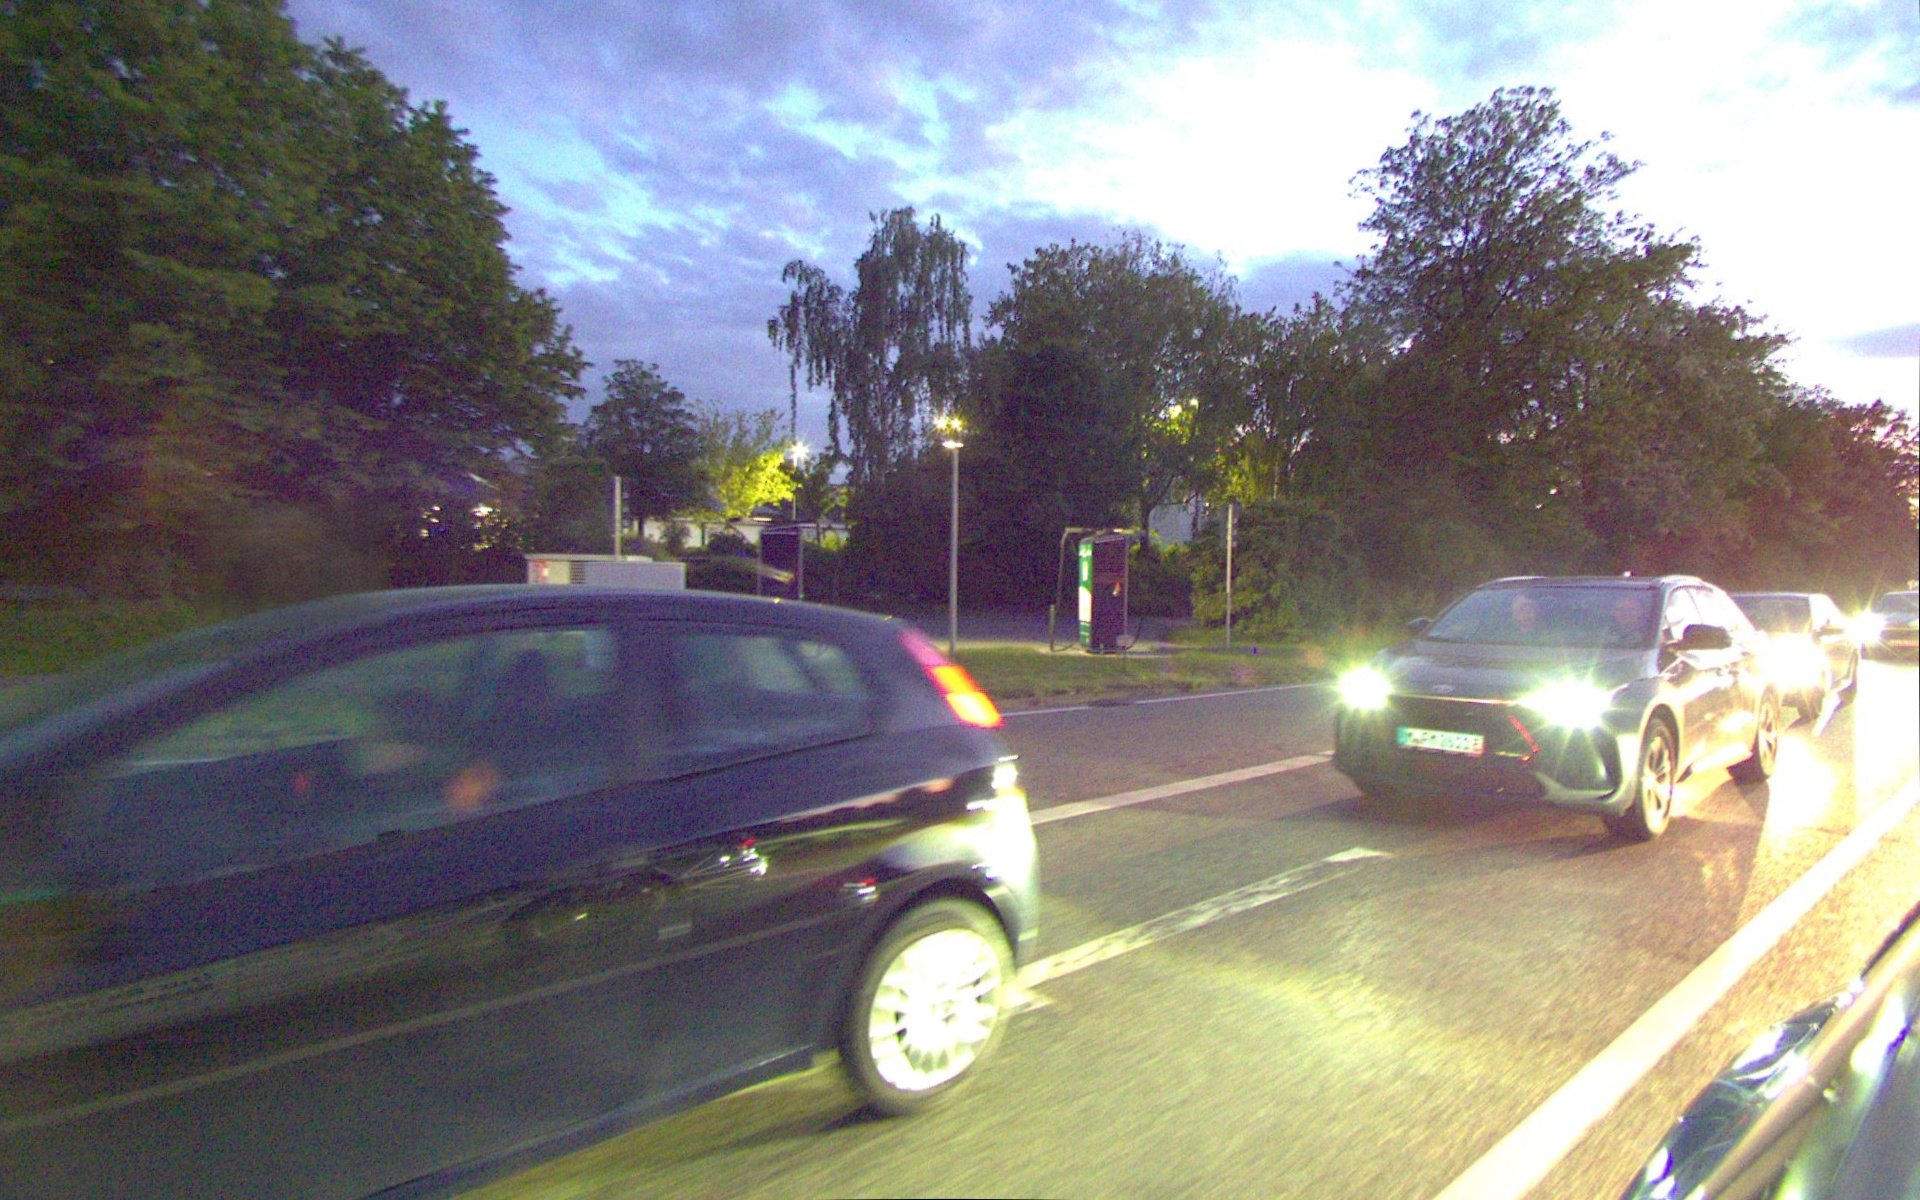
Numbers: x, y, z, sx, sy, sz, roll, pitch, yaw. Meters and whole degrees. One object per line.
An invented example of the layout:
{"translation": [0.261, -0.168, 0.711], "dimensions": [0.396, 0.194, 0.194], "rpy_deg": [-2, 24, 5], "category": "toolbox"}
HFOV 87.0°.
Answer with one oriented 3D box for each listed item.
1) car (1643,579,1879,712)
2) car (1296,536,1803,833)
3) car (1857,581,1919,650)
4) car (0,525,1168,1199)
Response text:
{"translation": [10.188, 0.478, 12.790], "dimensions": [3.688, 1.431, 1.621], "rpy_deg": [0, 1, -40], "category": "car"}
{"translation": [4.507, 0.457, 7.476], "dimensions": [4.224, 1.577, 1.900], "rpy_deg": [0, -1, -40], "category": "car"}
{"translation": [21.152, 0.294, 22.107], "dimensions": [3.930, 1.385, 1.817], "rpy_deg": [-2, 1, -41], "category": "car"}
{"translation": [-1.171, 0.622, 3.129], "dimensions": [3.649, 1.556, 1.662], "rpy_deg": [-1, 1, -40], "category": "car"}
